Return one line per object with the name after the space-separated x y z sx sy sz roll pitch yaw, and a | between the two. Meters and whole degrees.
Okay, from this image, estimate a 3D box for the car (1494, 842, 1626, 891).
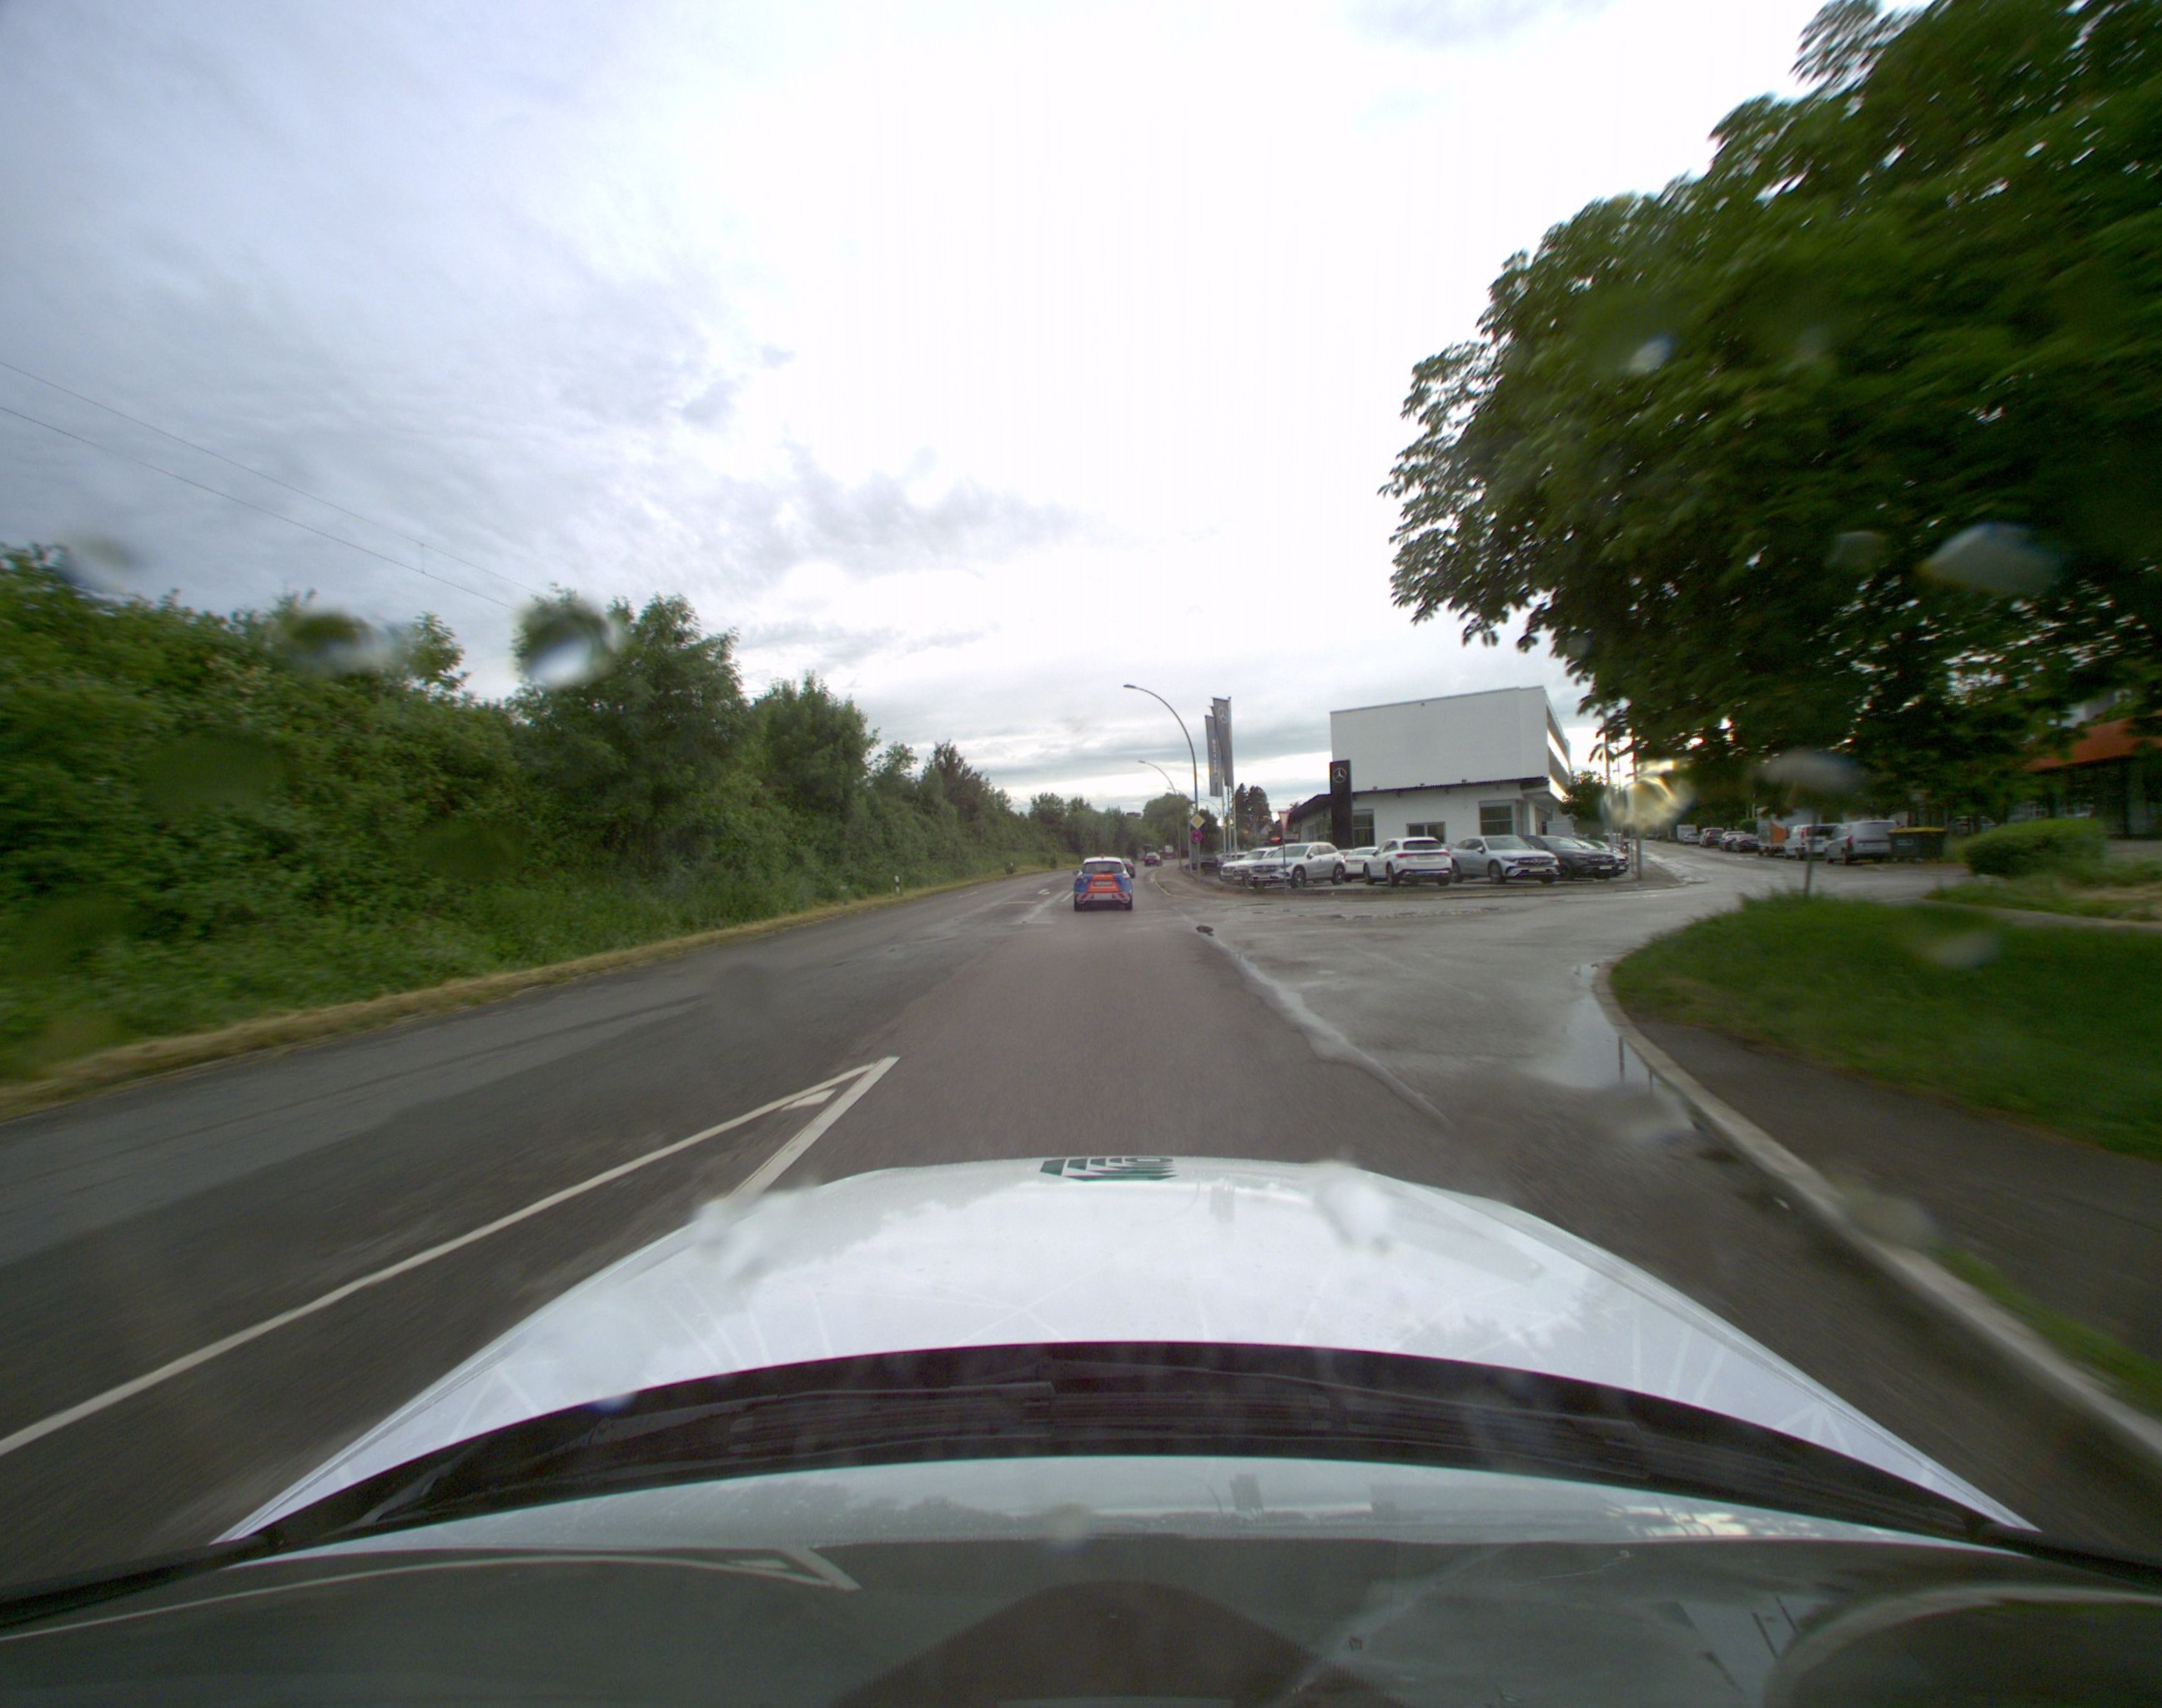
17.129 0.474 29.413 1.648 1.603 4.606 1 -1 -7 | car

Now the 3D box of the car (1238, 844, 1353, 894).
8.109 0.585 30.593 4.644 1.751 2.011 2 -2 -43 | car

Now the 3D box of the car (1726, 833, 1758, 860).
53.111 -0.574 65.490 1.901 2.041 4.318 -2 -1 38 | car

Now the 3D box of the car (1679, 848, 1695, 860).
100.200 0.003 134.653 1.901 2.041 4.318 -2 -1 38 | car

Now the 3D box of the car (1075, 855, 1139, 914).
0.787 0.917 25.055 1.799 1.668 3.856 1 -1 1 | car

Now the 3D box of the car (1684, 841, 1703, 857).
82.811 -0.704 110.111 1.901 2.041 4.318 -2 -1 38 | car

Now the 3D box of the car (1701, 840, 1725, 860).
66.576 -0.414 85.739 1.901 2.041 4.318 -2 -1 38 | car

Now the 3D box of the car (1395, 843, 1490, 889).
14.960 0.469 33.582 4.644 1.751 1.908 0 -1 -43 | car

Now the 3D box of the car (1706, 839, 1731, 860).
63.585 -0.434 81.266 1.901 2.041 4.318 -2 -1 38 | car

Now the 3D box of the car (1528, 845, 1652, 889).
19.934 0.527 32.168 1.648 1.603 4.606 1 -1 -7 | car

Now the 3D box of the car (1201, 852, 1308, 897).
7.275 0.876 33.872 4.644 1.751 2.010 2 -4 -43 | car

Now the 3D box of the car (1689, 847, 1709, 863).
79.130 0.135 104.261 1.901 2.041 4.318 -2 -1 38 | car

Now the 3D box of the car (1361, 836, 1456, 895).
11.109 0.413 27.952 1.818 1.829 4.268 0 -1 4 | car

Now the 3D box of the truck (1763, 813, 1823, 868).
42.552 -0.708 48.822 2.455 2.995 6.964 -1 -2 39 | truck

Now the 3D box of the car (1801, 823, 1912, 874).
33.372 -0.190 35.220 1.762 2.034 4.311 0 -1 18 | car

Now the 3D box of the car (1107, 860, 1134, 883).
2.825 1.238 57.583 1.685 1.595 3.862 0 -1 6 | car

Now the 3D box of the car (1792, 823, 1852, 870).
38.061 -0.337 41.945 1.901 2.251 4.318 -2 -1 38 | car

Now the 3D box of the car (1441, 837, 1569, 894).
14.174 0.418 27.567 1.930 1.751 4.617 1 -1 -1 | car

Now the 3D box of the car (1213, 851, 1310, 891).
8.536 0.839 38.348 4.638 1.751 1.787 1 -3 -36 | car

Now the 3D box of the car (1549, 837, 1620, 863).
30.786 -0.231 49.911 3.620 1.496 1.665 0 -2 27 | car

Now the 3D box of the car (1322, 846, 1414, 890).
12.323 0.554 34.810 1.907 1.751 4.646 -1 -1 44 | car

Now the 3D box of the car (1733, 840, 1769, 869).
50.023 0.034 60.832 1.901 2.041 4.318 -2 -1 38 | car

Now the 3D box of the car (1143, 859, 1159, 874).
8.643 1.495 100.200 1.684 1.791 3.865 0 -1 9 | car

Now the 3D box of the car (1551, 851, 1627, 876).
28.996 0.569 46.578 3.619 1.376 1.665 0 -2 30 | car
